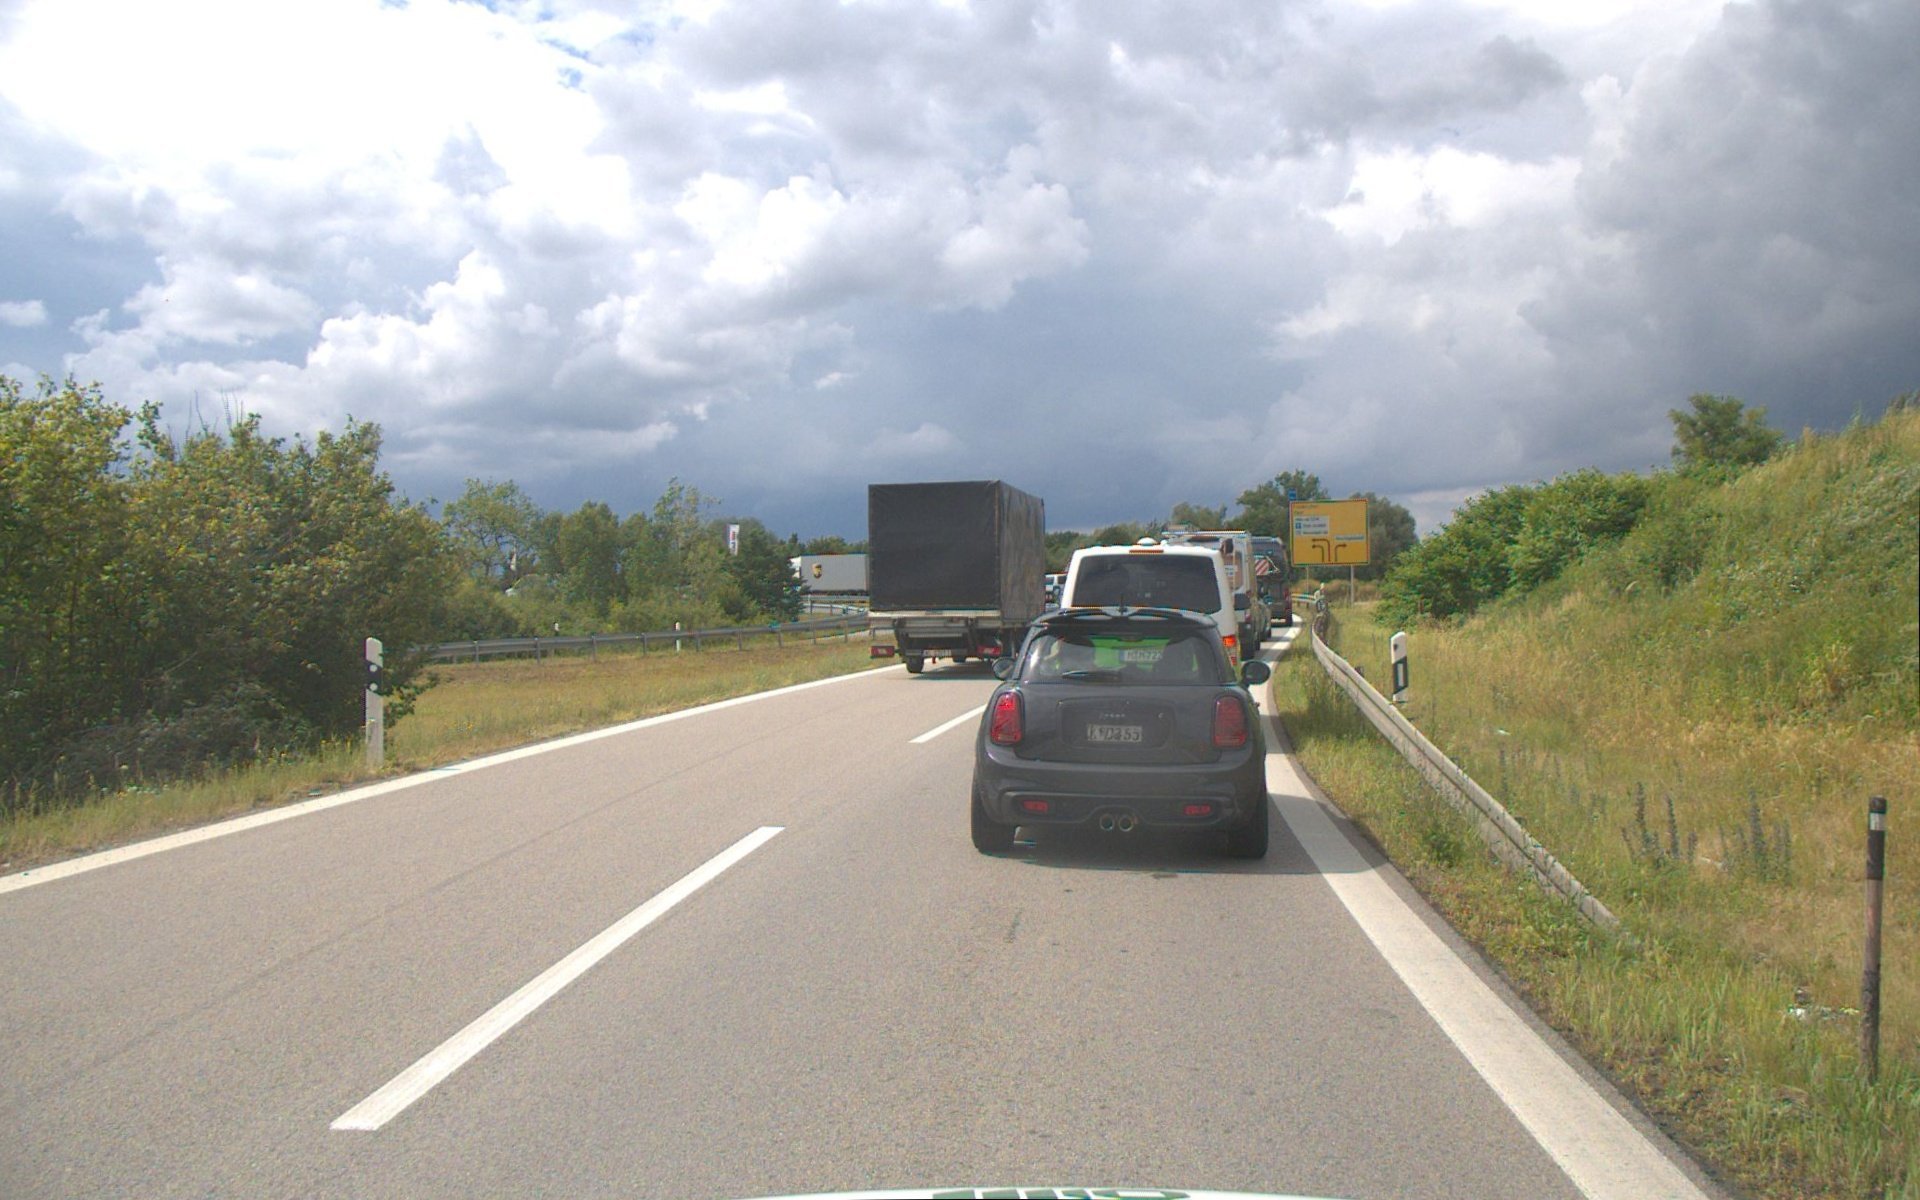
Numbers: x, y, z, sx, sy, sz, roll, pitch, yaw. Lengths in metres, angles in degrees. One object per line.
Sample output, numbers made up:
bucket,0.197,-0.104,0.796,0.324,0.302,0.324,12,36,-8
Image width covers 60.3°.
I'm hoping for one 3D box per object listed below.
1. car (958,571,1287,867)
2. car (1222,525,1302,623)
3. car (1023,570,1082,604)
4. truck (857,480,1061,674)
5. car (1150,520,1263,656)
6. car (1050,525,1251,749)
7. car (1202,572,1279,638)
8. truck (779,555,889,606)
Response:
car,1.106,0.630,10.801,1.761,1.573,3.741,0,0,7
car,10.356,-0.812,56.240,2.262,3.122,6.667,1,-1,14
car,6.597,-0.908,118.189,2.258,2.300,5.072,1,-1,-22
truck,0.197,-0.354,31.311,2.505,3.223,7.474,1,-1,10
car,5.409,-0.213,35.664,2.164,2.668,5.539,1,-1,11
car,2.104,0.346,17.559,1.870,2.081,4.184,0,0,9
car,7.593,0.151,44.564,1.951,1.671,3.932,1,-1,11
truck,-10.591,-1.624,138.217,9.838,4.046,2.832,1,-1,39
